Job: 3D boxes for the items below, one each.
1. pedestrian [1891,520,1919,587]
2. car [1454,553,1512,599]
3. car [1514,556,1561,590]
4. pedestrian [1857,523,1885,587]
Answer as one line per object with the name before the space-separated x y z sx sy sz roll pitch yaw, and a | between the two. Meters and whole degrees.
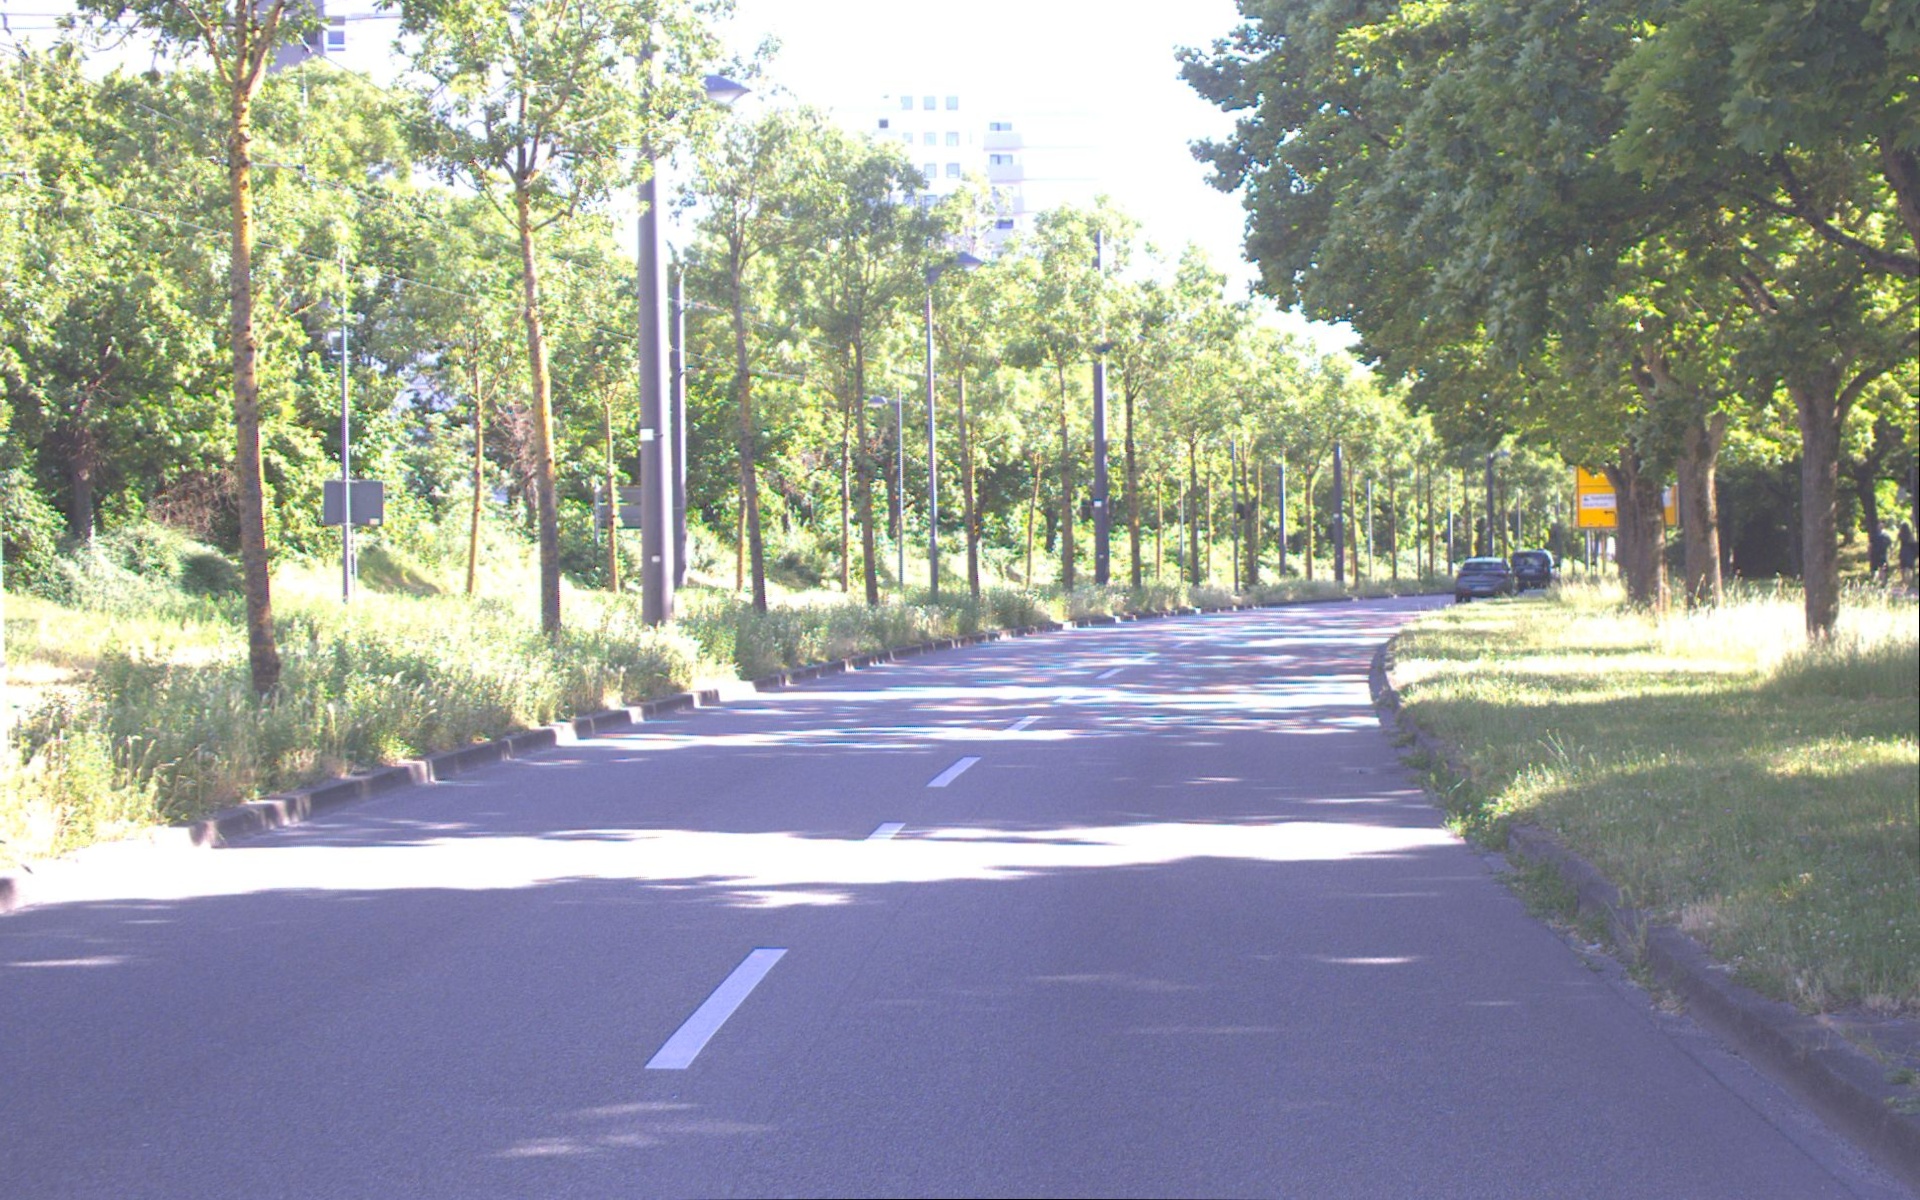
pedestrian | 24.116 -1.177 87.581 0.637 1.686 0.843 -1 0 23
car | 17.033 -0.795 111.838 1.635 1.493 4.232 0 1 12
car | 25.509 -1.188 151.727 1.635 1.493 4.231 0 1 15
pedestrian | 23.337 -1.147 88.033 0.547 1.616 0.843 -1 0 23
